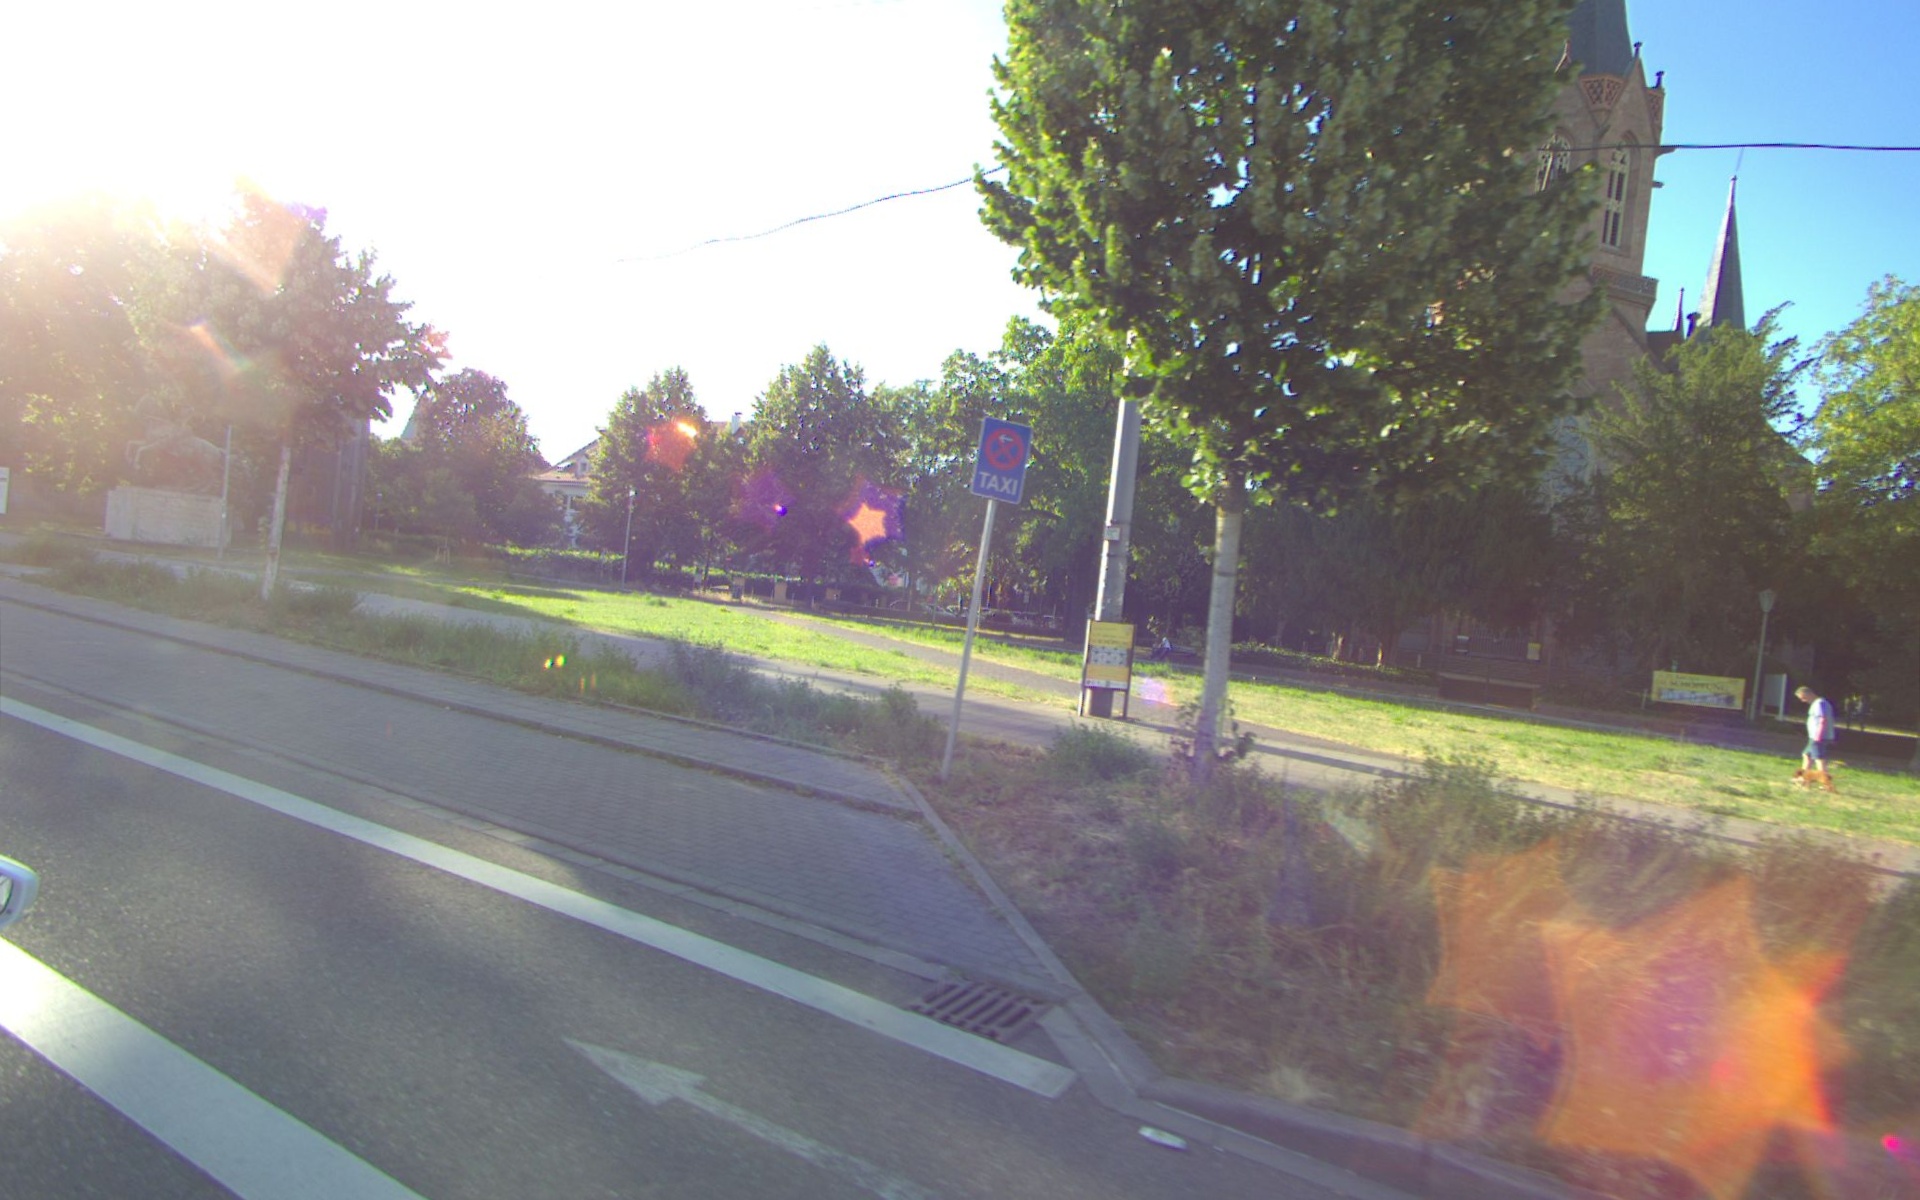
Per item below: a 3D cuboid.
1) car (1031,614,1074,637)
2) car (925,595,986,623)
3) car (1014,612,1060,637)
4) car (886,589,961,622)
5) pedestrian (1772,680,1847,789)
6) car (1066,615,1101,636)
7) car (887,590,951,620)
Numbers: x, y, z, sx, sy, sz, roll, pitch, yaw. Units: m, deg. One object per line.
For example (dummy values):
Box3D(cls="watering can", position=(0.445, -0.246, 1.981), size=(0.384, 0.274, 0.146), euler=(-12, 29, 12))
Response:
Box3D(cls="car", position=(7.478, 2.074, 81.100), size=(1.602, 1.528, 4.148), euler=(7, 0, 32))
Box3D(cls="car", position=(-0.341, 0.682, 75.838), size=(4.085, 1.639, 1.869), euler=(7, 1, 27))
Box3D(cls="car", position=(5.799, 1.845, 75.307), size=(1.572, 1.528, 4.149), euler=(6, -1, 32))
Box3D(cls="car", position=(-2.509, 0.378, 69.063), size=(4.553, 1.740, 1.998), euler=(6, 1, 22))
Box3D(cls="pedestrian", position=(14.707, 2.321, 17.427), size=(0.588, 1.761, 0.639), euler=(6, 1, -23))
Box3D(cls="car", position=(11.105, 2.304, 90.402), size=(1.539, 1.466, 3.499), euler=(6, -1, 34))
Box3D(cls="car", position=(-2.966, 0.379, 72.686), size=(4.085, 1.650, 1.869), euler=(7, 1, 27))
